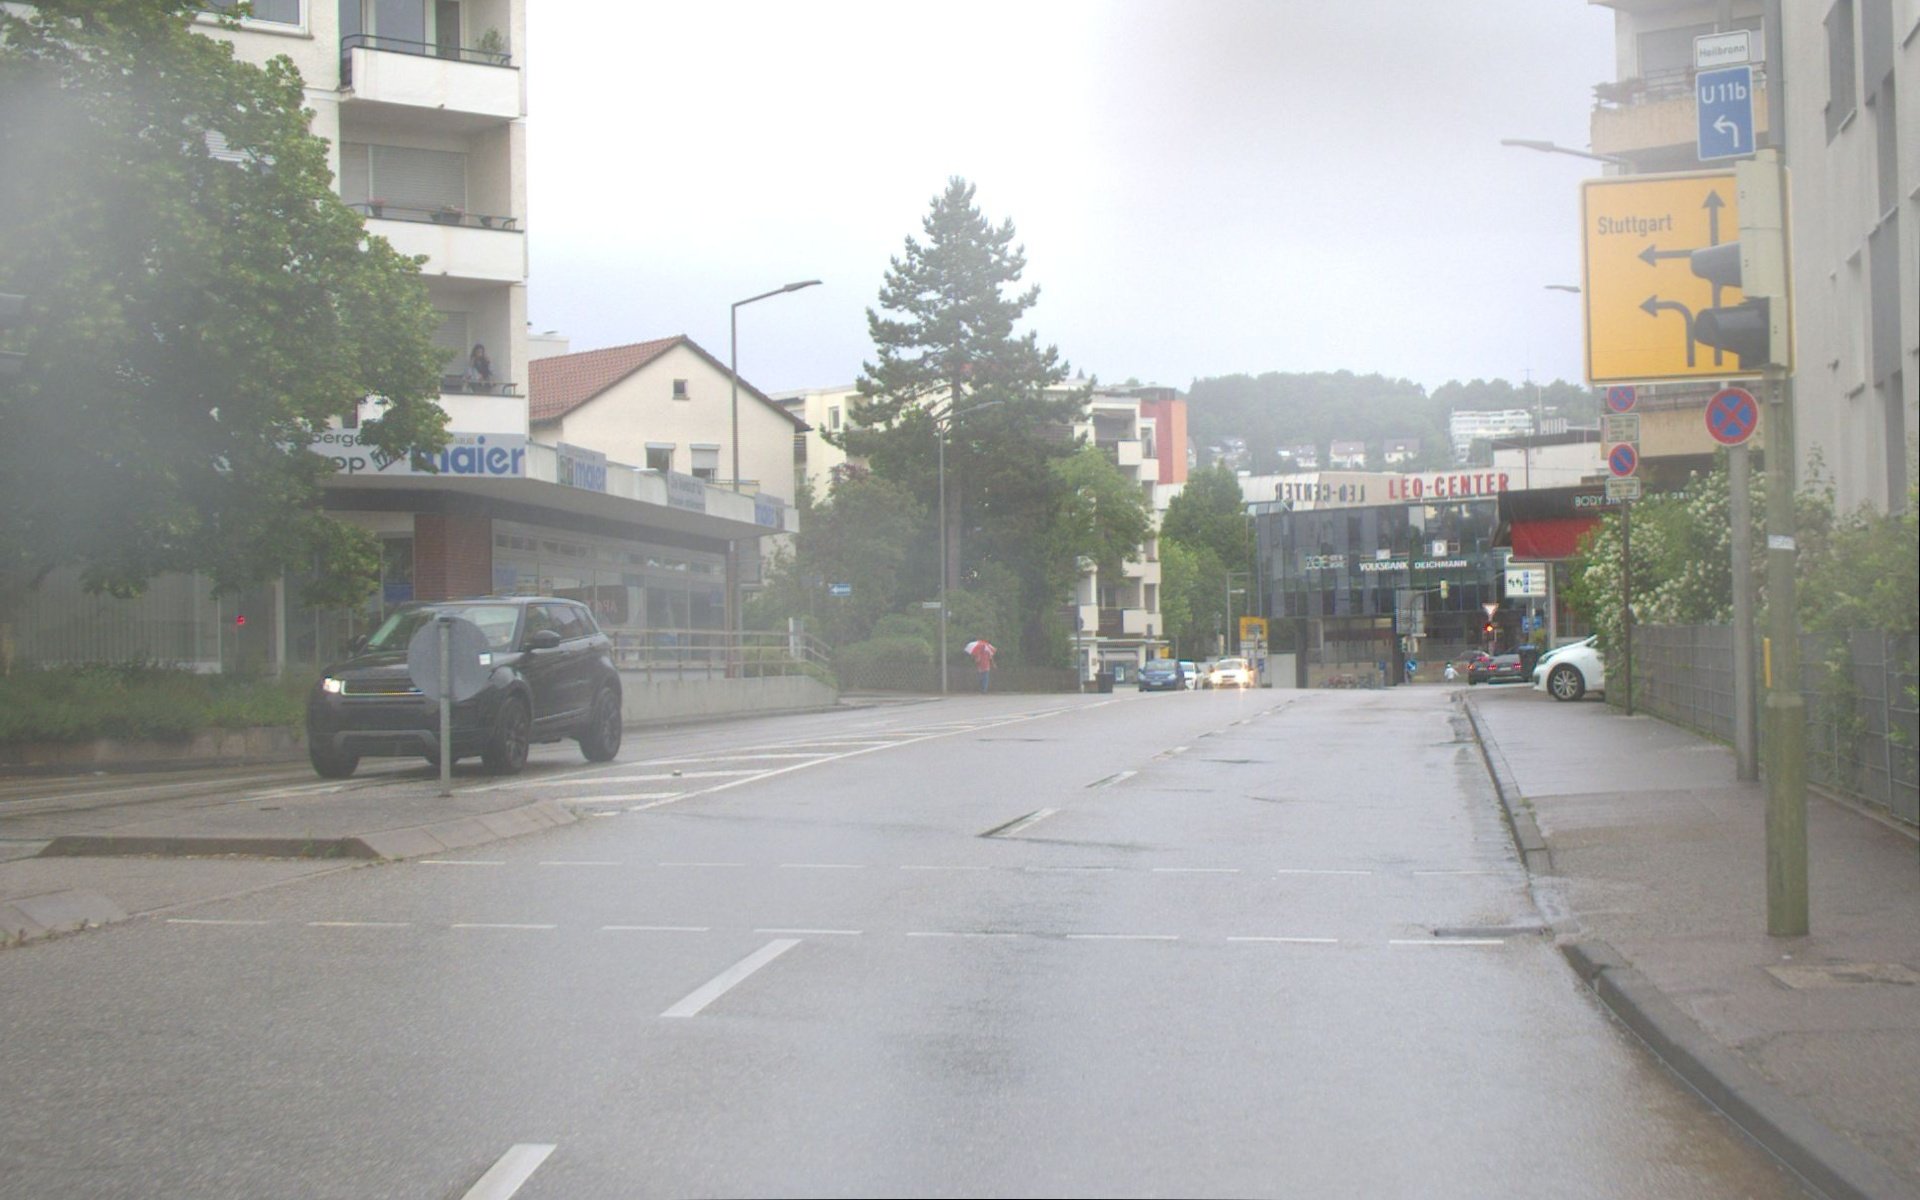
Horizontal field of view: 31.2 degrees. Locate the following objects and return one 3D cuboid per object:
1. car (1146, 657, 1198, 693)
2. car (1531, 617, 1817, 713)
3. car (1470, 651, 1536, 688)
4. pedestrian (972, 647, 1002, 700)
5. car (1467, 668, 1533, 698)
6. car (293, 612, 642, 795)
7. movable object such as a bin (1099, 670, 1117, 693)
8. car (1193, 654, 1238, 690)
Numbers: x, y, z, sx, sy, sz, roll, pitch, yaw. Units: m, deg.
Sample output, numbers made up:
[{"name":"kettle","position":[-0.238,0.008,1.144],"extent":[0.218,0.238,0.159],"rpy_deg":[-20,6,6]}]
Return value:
[{"name":"car","position":[9.246,3.260,149.625],"extent":[1.652,1.516,4.322],"rpy_deg":[-1,-1,11]},{"name":"car","position":[11.866,1.065,57.257],"extent":[4.266,1.489,1.869],"rpy_deg":[-1,1,37]},{"name":"car","position":[23.888,3.081,151.162],"extent":[1.995,1.528,4.641],"rpy_deg":[-1,-3,21]},{"name":"pedestrian","position":[0.840,2.247,105.001],"extent":[0.869,1.601,1.103],"rpy_deg":[-1,-2,2]},{"name":"car","position":[26.810,4.104,170.512],"extent":[1.808,1.414,3.993],"rpy_deg":[-2,-2,32]},{"name":"car","position":[-4.481,0.909,31.971],"extent":[1.803,1.552,4.316],"rpy_deg":[-1,0,12]},{"name":"movable object such as a bin","position":[6.259,3.441,145.590],"extent":[0.648,0.962,0.682],"rpy_deg":[-2,-2,11]},{"name":"car","position":[11.082,3.111,148.983],"extent":[1.698,1.404,3.999],"rpy_deg":[-4,0,6]}]
